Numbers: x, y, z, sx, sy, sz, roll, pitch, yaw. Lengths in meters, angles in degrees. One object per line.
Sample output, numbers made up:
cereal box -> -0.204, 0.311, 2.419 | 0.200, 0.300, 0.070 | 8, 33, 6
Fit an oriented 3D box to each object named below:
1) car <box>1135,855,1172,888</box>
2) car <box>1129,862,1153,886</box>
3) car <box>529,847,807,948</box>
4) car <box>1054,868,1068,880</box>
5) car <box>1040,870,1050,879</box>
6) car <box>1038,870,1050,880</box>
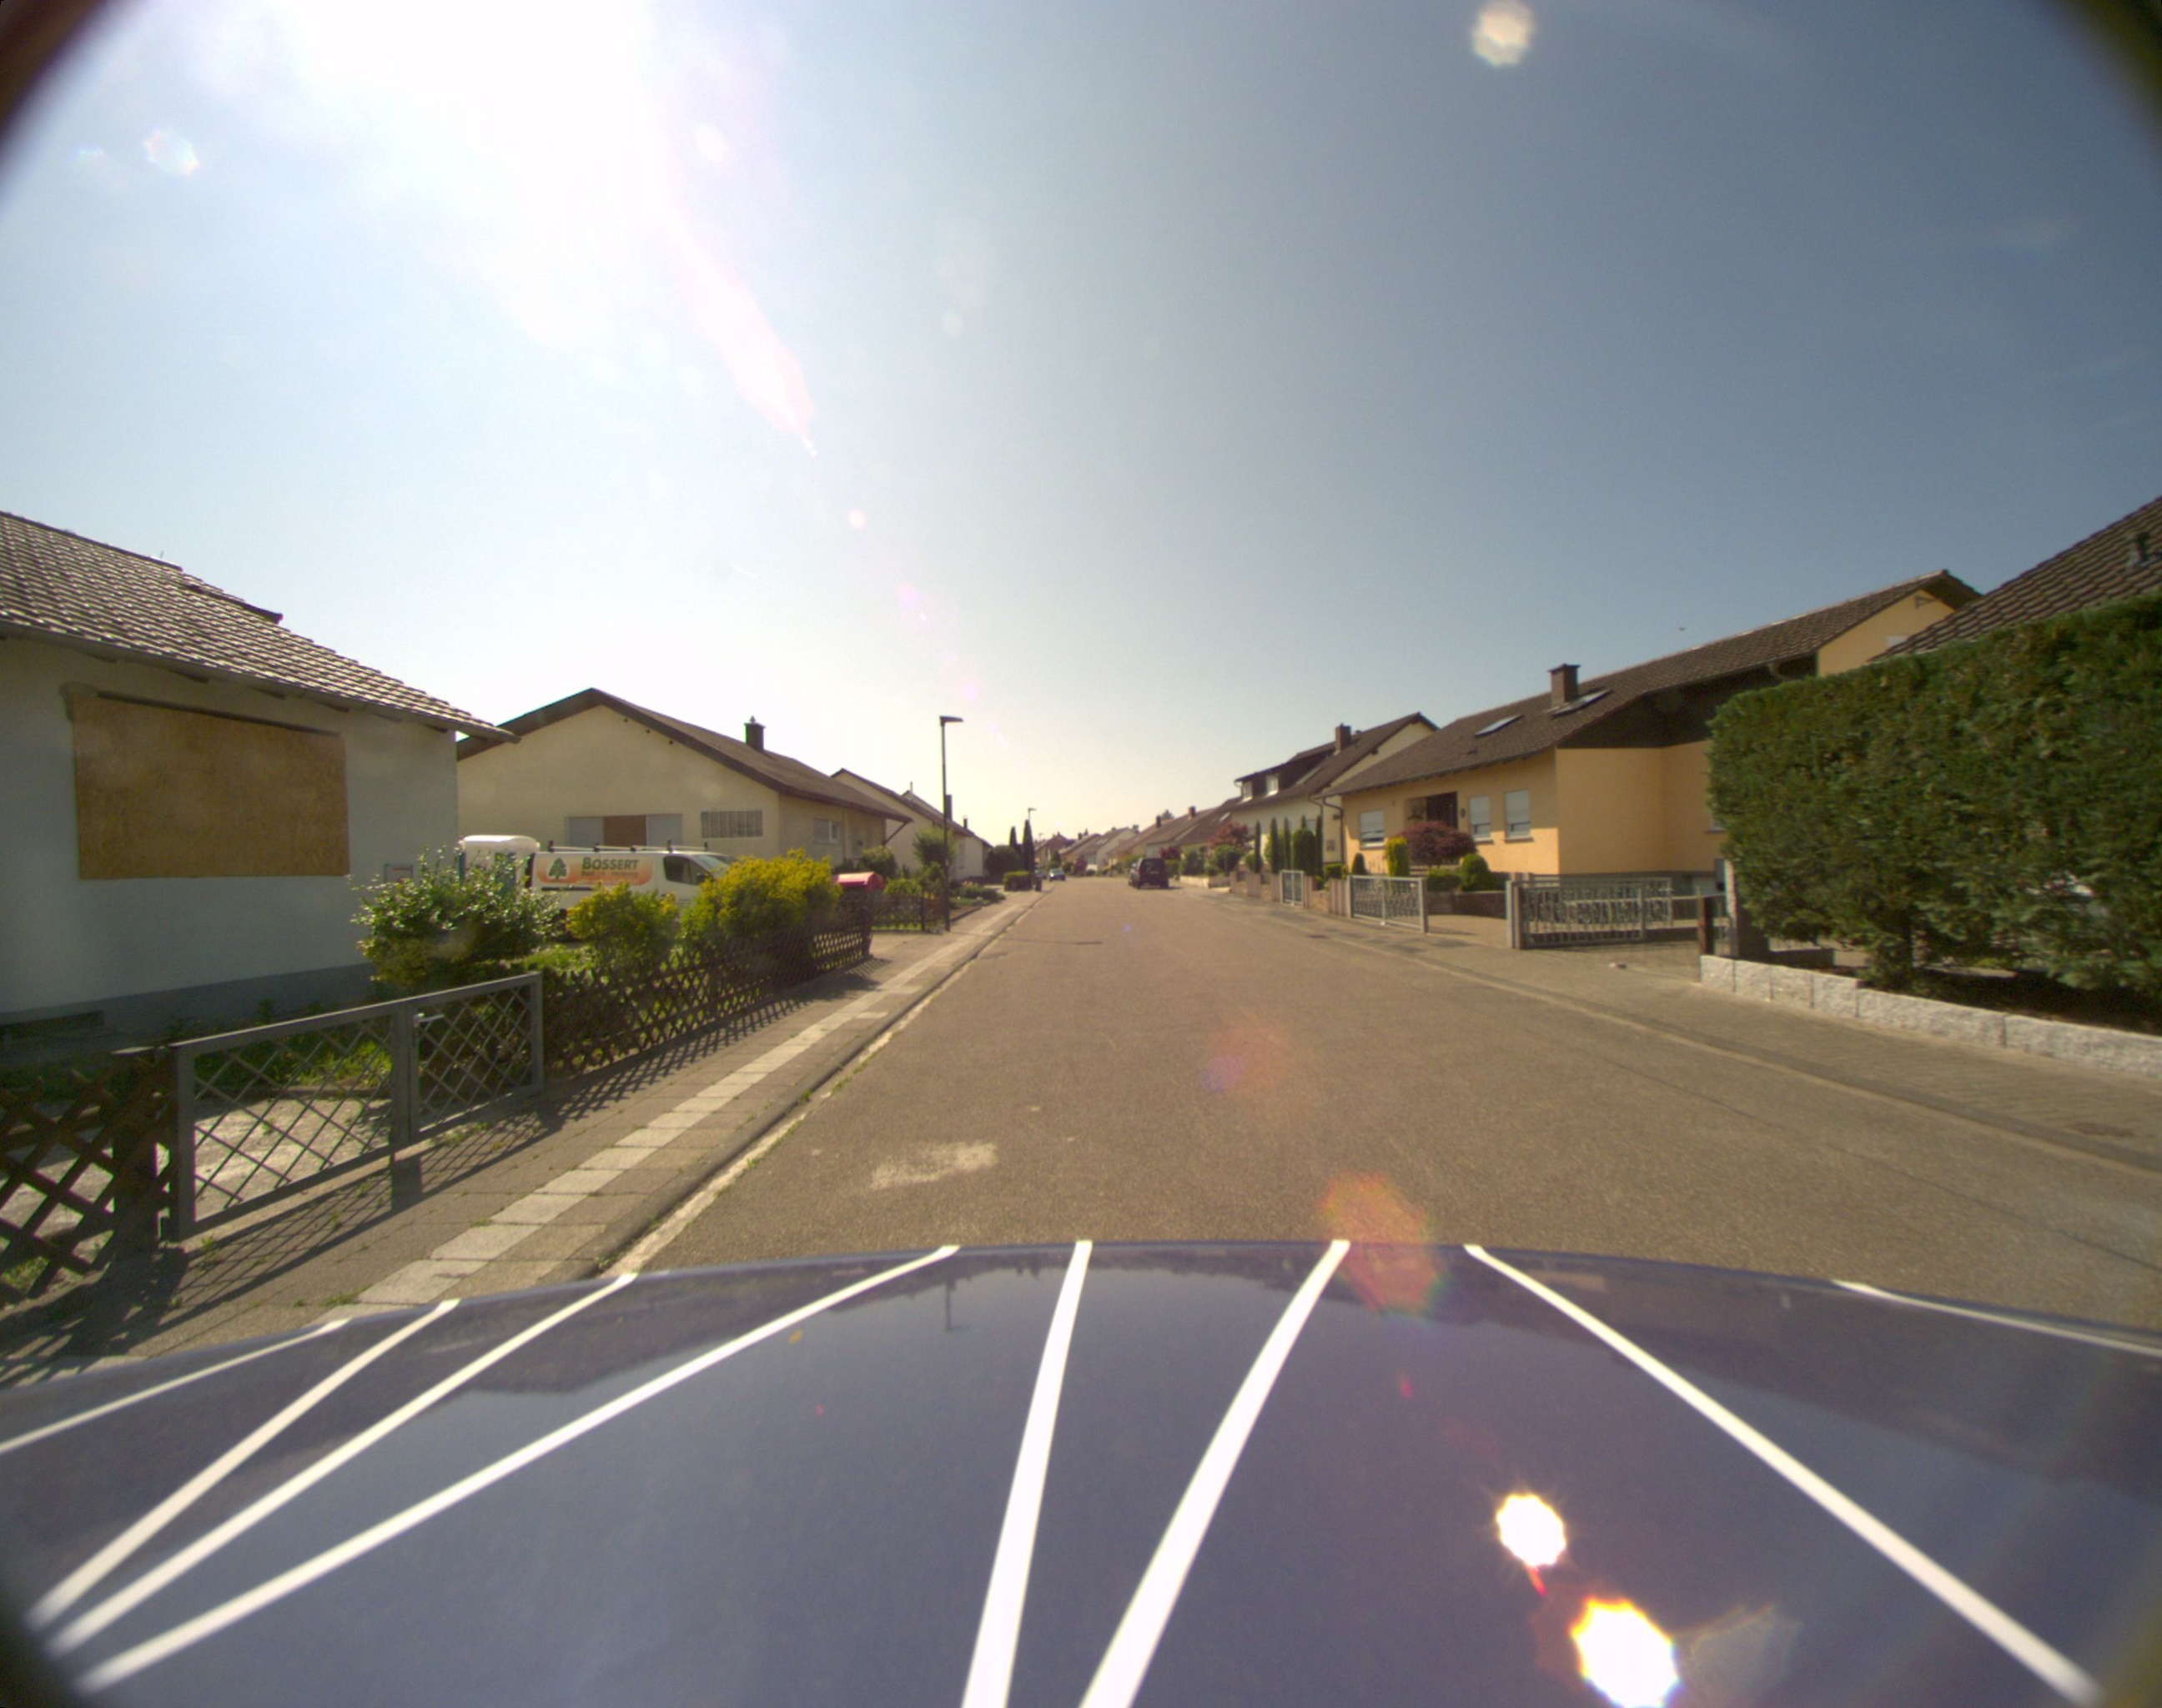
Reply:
car -> 4.113, 1.006, 43.857 | 1.769, 1.767, 3.652 | -2, 0, 0
car -> 3.868, 1.275, 49.224 | 1.305, 1.415, 3.104 | -2, 0, 0
car -> -8.813, 0.906, 16.485 | 5.008, 2.002, 1.868 | -1, 0, 2
car -> -2.355, 2.287, 88.450 | 1.459, 1.270, 3.102 | -1, 0, -6
car -> -5.295, 2.959, 111.342 | 1.459, 1.270, 3.102 | -1, 0, -5
car -> -4.947, 2.739, 101.247 | 1.459, 1.270, 3.102 | -1, 0, -7
